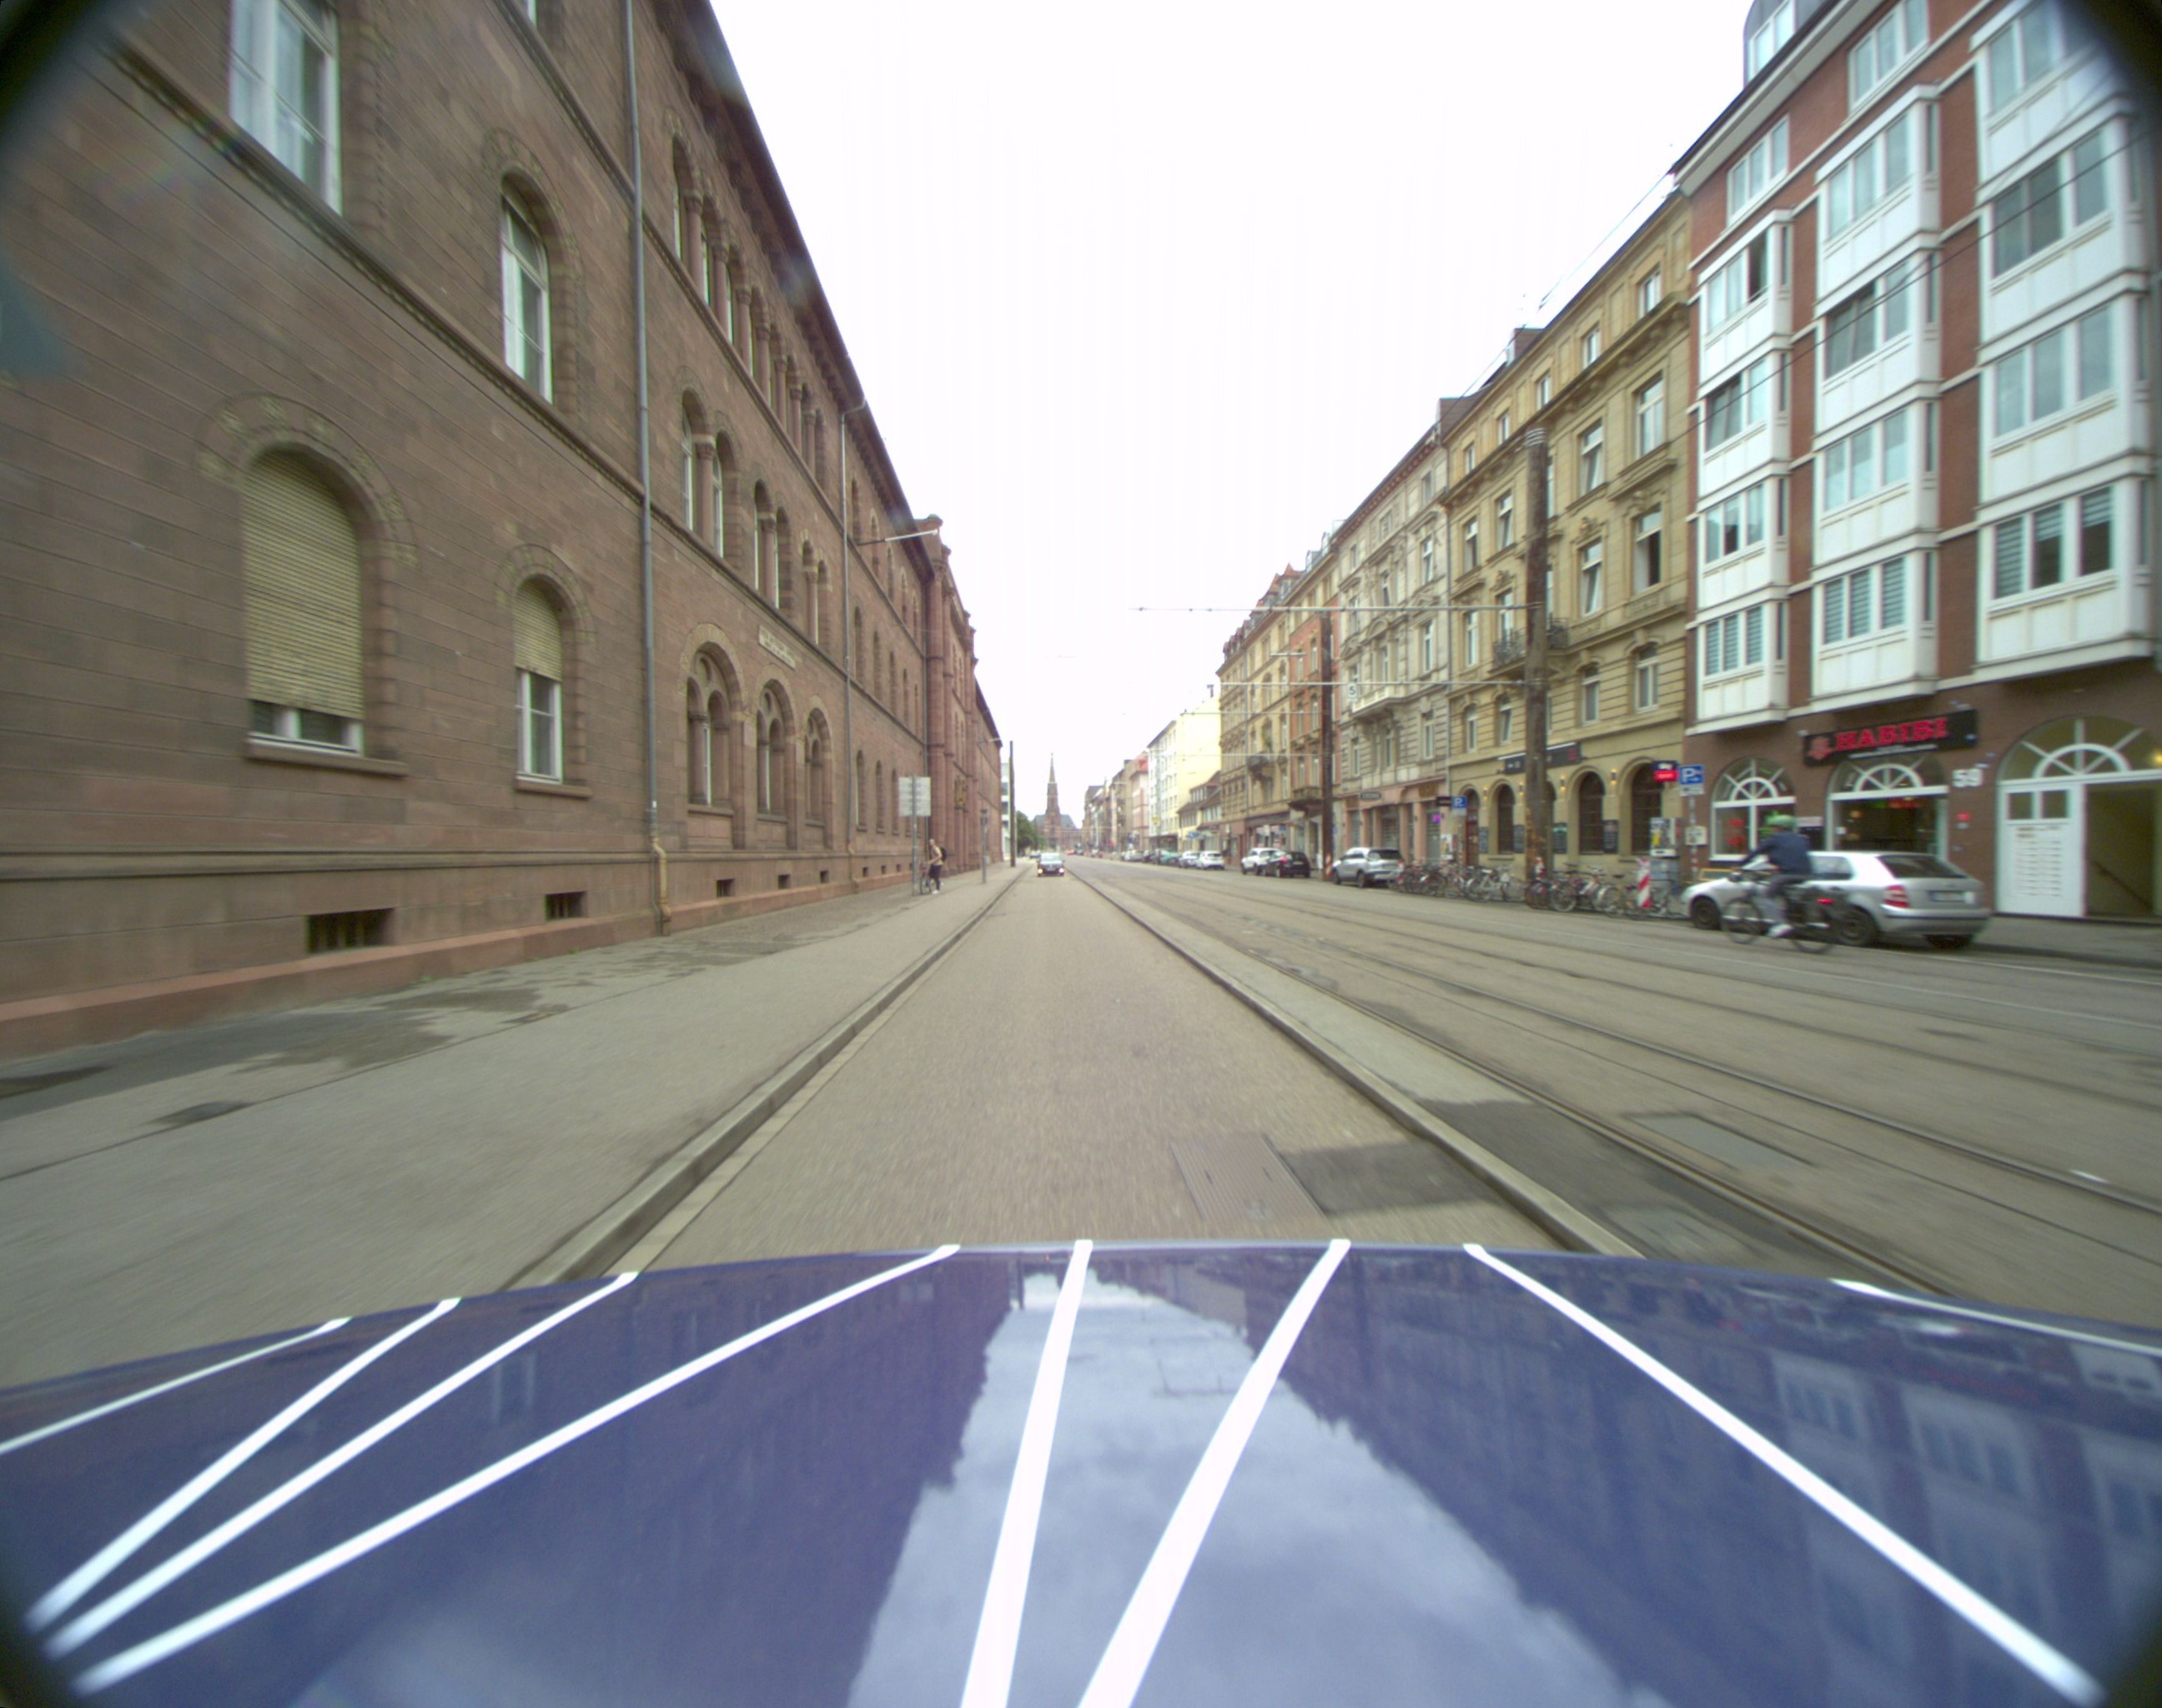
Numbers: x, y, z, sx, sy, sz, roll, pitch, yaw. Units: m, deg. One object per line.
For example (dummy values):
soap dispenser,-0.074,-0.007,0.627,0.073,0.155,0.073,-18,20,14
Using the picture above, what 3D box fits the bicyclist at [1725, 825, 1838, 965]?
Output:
bicyclist,9.917,0.547,10.801,0.647,1.872,1.028,-2,1,-1

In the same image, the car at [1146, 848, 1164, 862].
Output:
car,9.096,0.118,94.020,1.705,1.662,4.179,-2,1,-1

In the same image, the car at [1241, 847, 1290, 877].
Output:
car,10.933,0.455,45.257,1.748,1.663,4.044,0,0,-3

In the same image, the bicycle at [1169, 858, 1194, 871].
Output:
bicycle,9.232,0.960,69.933,2.140,1.091,0.556,-2,1,-2

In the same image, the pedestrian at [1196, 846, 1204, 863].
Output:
pedestrian,11.856,0.037,75.673,0.657,1.702,0.753,-2,1,-3

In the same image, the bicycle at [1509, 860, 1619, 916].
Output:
bicycle,11.977,0.834,18.868,2.288,1.322,0.666,1,1,-2

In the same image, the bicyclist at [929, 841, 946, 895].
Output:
bicyclist,-4.969,0.477,26.266,0.530,1.847,0.450,0,1,-3

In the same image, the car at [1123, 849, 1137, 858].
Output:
car,7.612,-0.080,118.356,1.733,1.336,3.245,-2,1,-3

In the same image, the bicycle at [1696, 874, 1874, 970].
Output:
bicycle,9.954,0.909,10.878,0.586,1.167,2.044,1,1,-1

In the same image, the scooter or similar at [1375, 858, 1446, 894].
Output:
scooter or similar,11.708,0.791,27.047,2.288,1.196,0.547,-2,1,-2

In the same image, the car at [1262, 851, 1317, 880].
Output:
car,11.116,0.576,40.815,1.748,1.480,3.919,0,0,-2

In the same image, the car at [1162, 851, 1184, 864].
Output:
car,9.573,0.356,79.345,1.652,1.373,3.434,0,0,-6

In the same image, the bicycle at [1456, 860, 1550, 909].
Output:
bicycle,12.024,0.856,21.696,2.288,1.322,0.666,1,1,-2

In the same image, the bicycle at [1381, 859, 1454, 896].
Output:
bicycle,11.680,0.807,26.410,2.288,1.196,0.547,-1,1,-2

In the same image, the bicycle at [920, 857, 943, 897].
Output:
bicycle,-5.154,0.754,26.209,0.446,1.269,2.226,1,1,-3

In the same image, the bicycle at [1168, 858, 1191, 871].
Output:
bicycle,9.112,0.976,70.564,2.044,1.091,0.556,-2,1,-2

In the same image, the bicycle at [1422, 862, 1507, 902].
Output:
bicycle,11.930,0.866,23.661,2.288,1.196,0.666,1,1,-2

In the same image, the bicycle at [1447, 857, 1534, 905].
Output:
bicycle,11.998,0.783,22.273,2.288,1.287,0.448,-3,1,-2

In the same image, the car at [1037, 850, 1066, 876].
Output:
car,-1.931,0.564,48.802,1.748,1.538,3.648,-1,1,-4

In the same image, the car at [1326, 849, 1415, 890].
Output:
car,11.495,0.588,30.493,1.748,1.524,4.224,0,0,-3

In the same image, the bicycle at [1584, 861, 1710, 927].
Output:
bicycle,12.002,0.842,16.129,2.288,1.322,0.521,1,1,-2

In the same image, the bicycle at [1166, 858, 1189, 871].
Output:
bicycle,9.055,0.990,71.177,2.044,1.091,0.556,-2,1,-2

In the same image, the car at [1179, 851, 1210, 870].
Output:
car,9.585,0.546,64.429,1.829,1.512,4.544,0,0,-2

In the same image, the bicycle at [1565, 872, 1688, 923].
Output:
bicycle,11.965,0.954,16.698,2.288,1.035,0.619,-1,1,-2

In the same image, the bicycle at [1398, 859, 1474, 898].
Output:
bicycle,11.771,0.799,25.219,2.288,1.197,0.540,-2,2,-2

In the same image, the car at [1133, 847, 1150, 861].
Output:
car,8.368,-0.027,105.191,1.929,1.722,3.825,-2,1,-3

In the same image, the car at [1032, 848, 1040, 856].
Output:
car,-10.291,-0.492,174.564,1.835,1.652,3.998,-2,1,-2

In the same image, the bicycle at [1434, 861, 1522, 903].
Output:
bicycle,11.965,0.834,22.947,2.288,1.196,0.666,1,1,-2

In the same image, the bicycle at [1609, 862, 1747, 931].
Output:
bicycle,12.080,0.849,15.410,2.288,1.322,0.666,1,1,-2

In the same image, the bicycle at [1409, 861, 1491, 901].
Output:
bicycle,11.851,0.854,24.433,2.288,1.196,0.704,1,1,-2

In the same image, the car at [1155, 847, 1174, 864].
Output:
car,9.204,0.158,83.979,1.707,1.747,3.918,0,1,-1

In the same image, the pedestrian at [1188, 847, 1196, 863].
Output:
pedestrian,11.082,0.105,75.761,0.657,1.607,0.727,-2,1,-3

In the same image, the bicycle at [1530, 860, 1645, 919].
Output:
bicycle,12.002,0.833,18.040,2.288,1.322,0.666,1,1,-2

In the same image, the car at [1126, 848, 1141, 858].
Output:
car,7.759,-0.169,111.806,1.733,1.443,3.825,-2,1,-3

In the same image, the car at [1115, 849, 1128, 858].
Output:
car,7.250,-0.103,135.915,1.868,1.553,3.998,1,1,-2

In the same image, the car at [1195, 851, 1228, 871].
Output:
car,10.248,0.521,59.917,1.748,1.456,4.044,0,0,-3

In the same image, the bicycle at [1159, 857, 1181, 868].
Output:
bicycle,8.735,0.832,74.505,2.044,0.928,0.557,-2,1,-1

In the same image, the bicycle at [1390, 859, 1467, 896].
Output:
bicycle,11.751,0.795,25.727,2.288,1.196,0.704,1,1,-2

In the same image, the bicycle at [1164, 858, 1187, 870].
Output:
bicycle,9.005,0.939,72.402,2.044,1.091,0.556,-2,1,-2

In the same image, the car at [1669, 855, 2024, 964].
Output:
car,12.114,0.774,12.473,1.748,1.480,3.918,0,0,-3

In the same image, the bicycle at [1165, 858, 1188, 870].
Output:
bicycle,9.044,0.955,71.760,2.044,1.091,0.556,-2,1,-2
